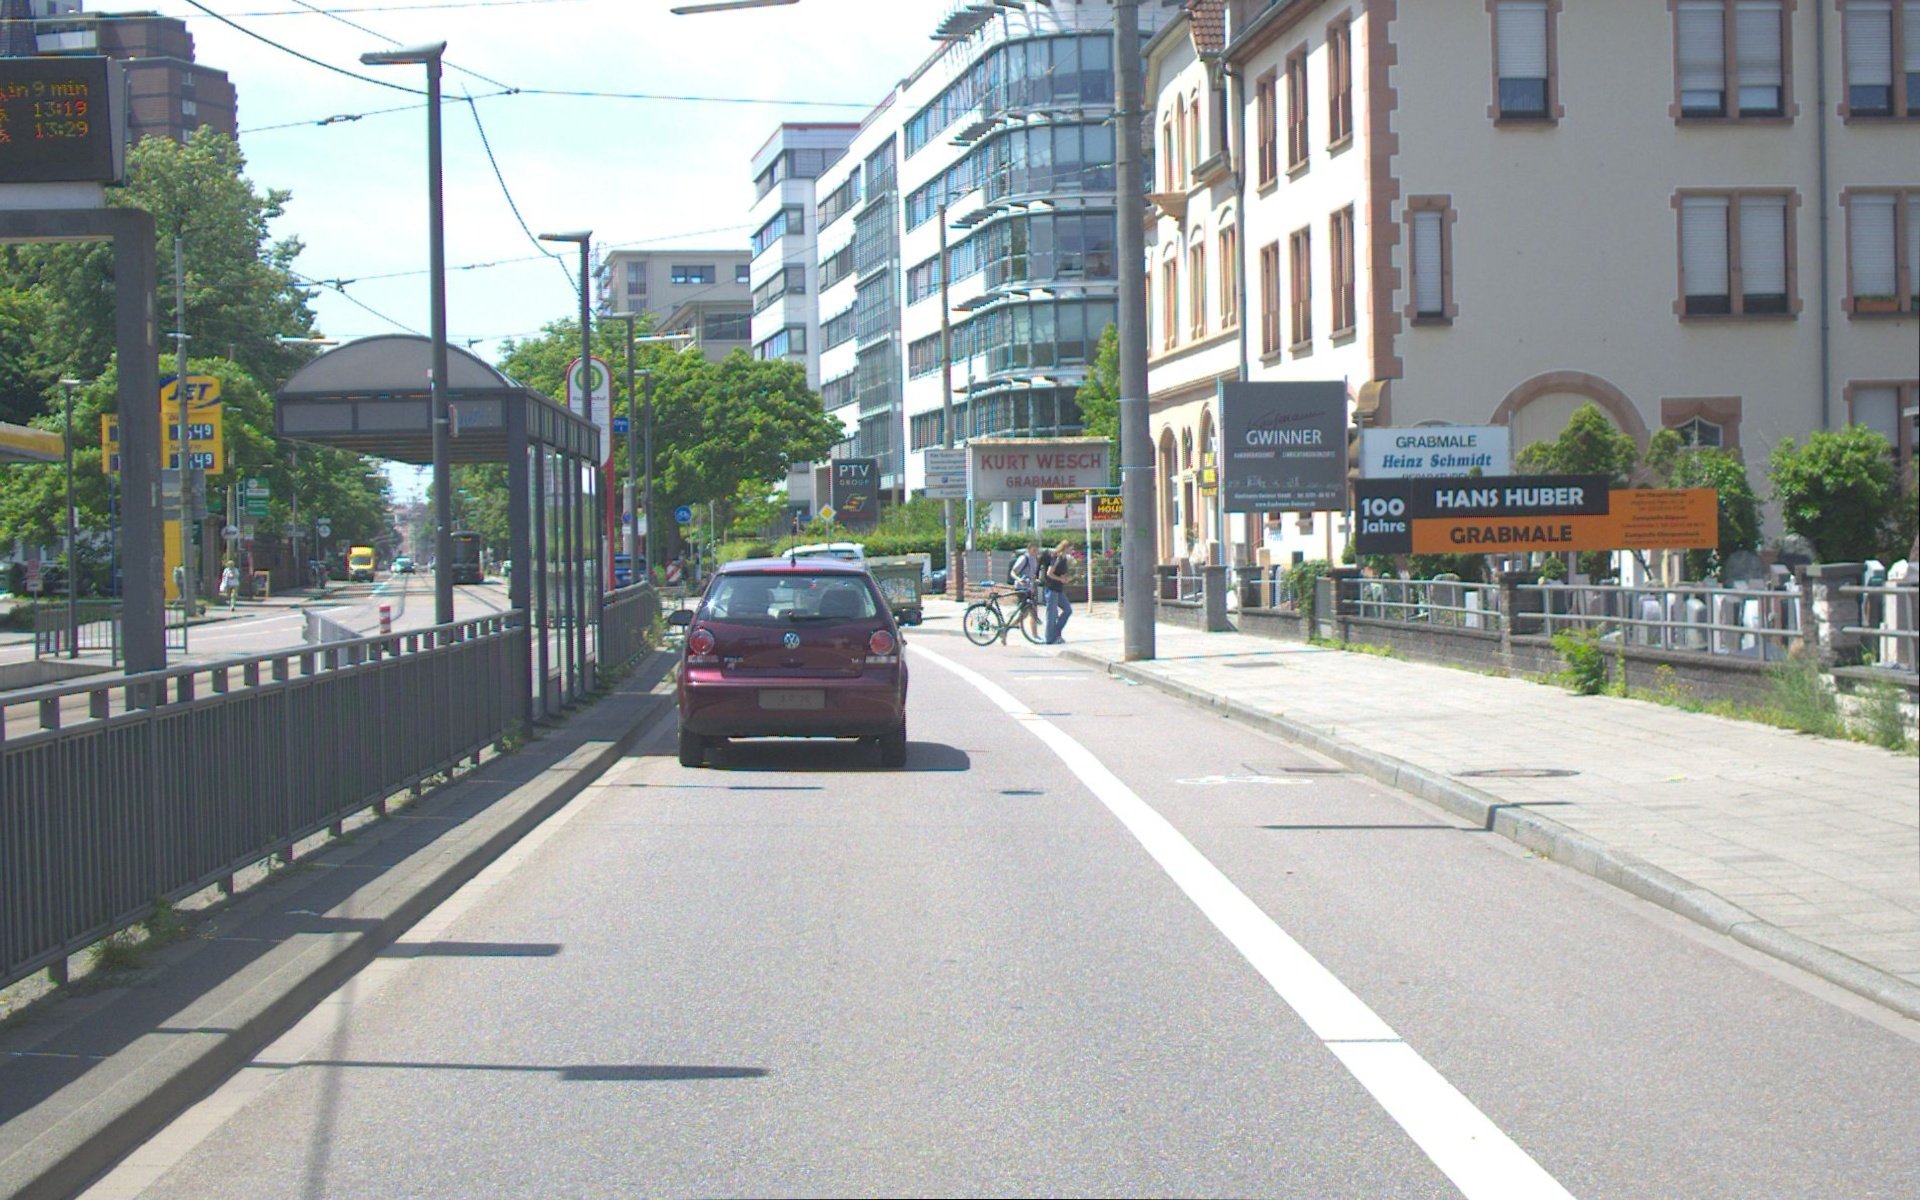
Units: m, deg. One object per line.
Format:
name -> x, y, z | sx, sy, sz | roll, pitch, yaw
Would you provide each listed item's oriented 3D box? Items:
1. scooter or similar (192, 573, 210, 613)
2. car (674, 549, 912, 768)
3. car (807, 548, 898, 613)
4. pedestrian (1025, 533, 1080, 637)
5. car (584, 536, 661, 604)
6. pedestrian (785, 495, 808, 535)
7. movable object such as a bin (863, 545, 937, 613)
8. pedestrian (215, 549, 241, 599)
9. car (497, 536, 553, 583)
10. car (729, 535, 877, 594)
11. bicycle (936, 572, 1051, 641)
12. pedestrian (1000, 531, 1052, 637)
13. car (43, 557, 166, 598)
scooter or similar -> -22.802, -0.211, 103.289 | 0.518, 1.196, 1.377 | 0, 1, -12
car -> -1.181, 0.372, 25.440 | 1.619, 1.481, 4.000 | 0, 1, -1
car -> -2.817, -0.501, 89.047 | 1.772, 1.543, 4.468 | -3, 1, -9
pedestrian -> 1.513, -0.249, 56.117 | 0.824, 1.685, 0.589 | -1, 1, 6
car -> -10.158, -0.910, 103.242 | 1.993, 2.007, 4.001 | 0, 1, -10
pedestrian -> -7.217, -3.760, 151.690 | 0.874, 1.709, 1.089 | -3, 0, 1
movable object such as a bin -> -1.363, -0.476, 77.477 | 1.391, 1.450, 1.139 | -4, 1, -12
pedestrian -> -24.910, -0.873, 116.942 | 0.625, 1.685, 0.722 | -2, 1, -30
car -> -16.857, -1.585, 133.082 | 1.993, 1.733, 4.001 | -2, 1, -9
car -> -5.063, -1.152, 110.660 | 4.537, 1.793, 2.001 | -1, 1, -8
bicycle -> 0.558, 0.104, 57.413 | 1.804, 1.123, 0.589 | -1, 1, 24
pedestrian -> 1.107, -0.268, 57.610 | 0.688, 1.766, 0.502 | -1, 1, 27
car -> -32.058, -0.848, 128.904 | 1.932, 1.483, 4.443 | 1, 1, 31
